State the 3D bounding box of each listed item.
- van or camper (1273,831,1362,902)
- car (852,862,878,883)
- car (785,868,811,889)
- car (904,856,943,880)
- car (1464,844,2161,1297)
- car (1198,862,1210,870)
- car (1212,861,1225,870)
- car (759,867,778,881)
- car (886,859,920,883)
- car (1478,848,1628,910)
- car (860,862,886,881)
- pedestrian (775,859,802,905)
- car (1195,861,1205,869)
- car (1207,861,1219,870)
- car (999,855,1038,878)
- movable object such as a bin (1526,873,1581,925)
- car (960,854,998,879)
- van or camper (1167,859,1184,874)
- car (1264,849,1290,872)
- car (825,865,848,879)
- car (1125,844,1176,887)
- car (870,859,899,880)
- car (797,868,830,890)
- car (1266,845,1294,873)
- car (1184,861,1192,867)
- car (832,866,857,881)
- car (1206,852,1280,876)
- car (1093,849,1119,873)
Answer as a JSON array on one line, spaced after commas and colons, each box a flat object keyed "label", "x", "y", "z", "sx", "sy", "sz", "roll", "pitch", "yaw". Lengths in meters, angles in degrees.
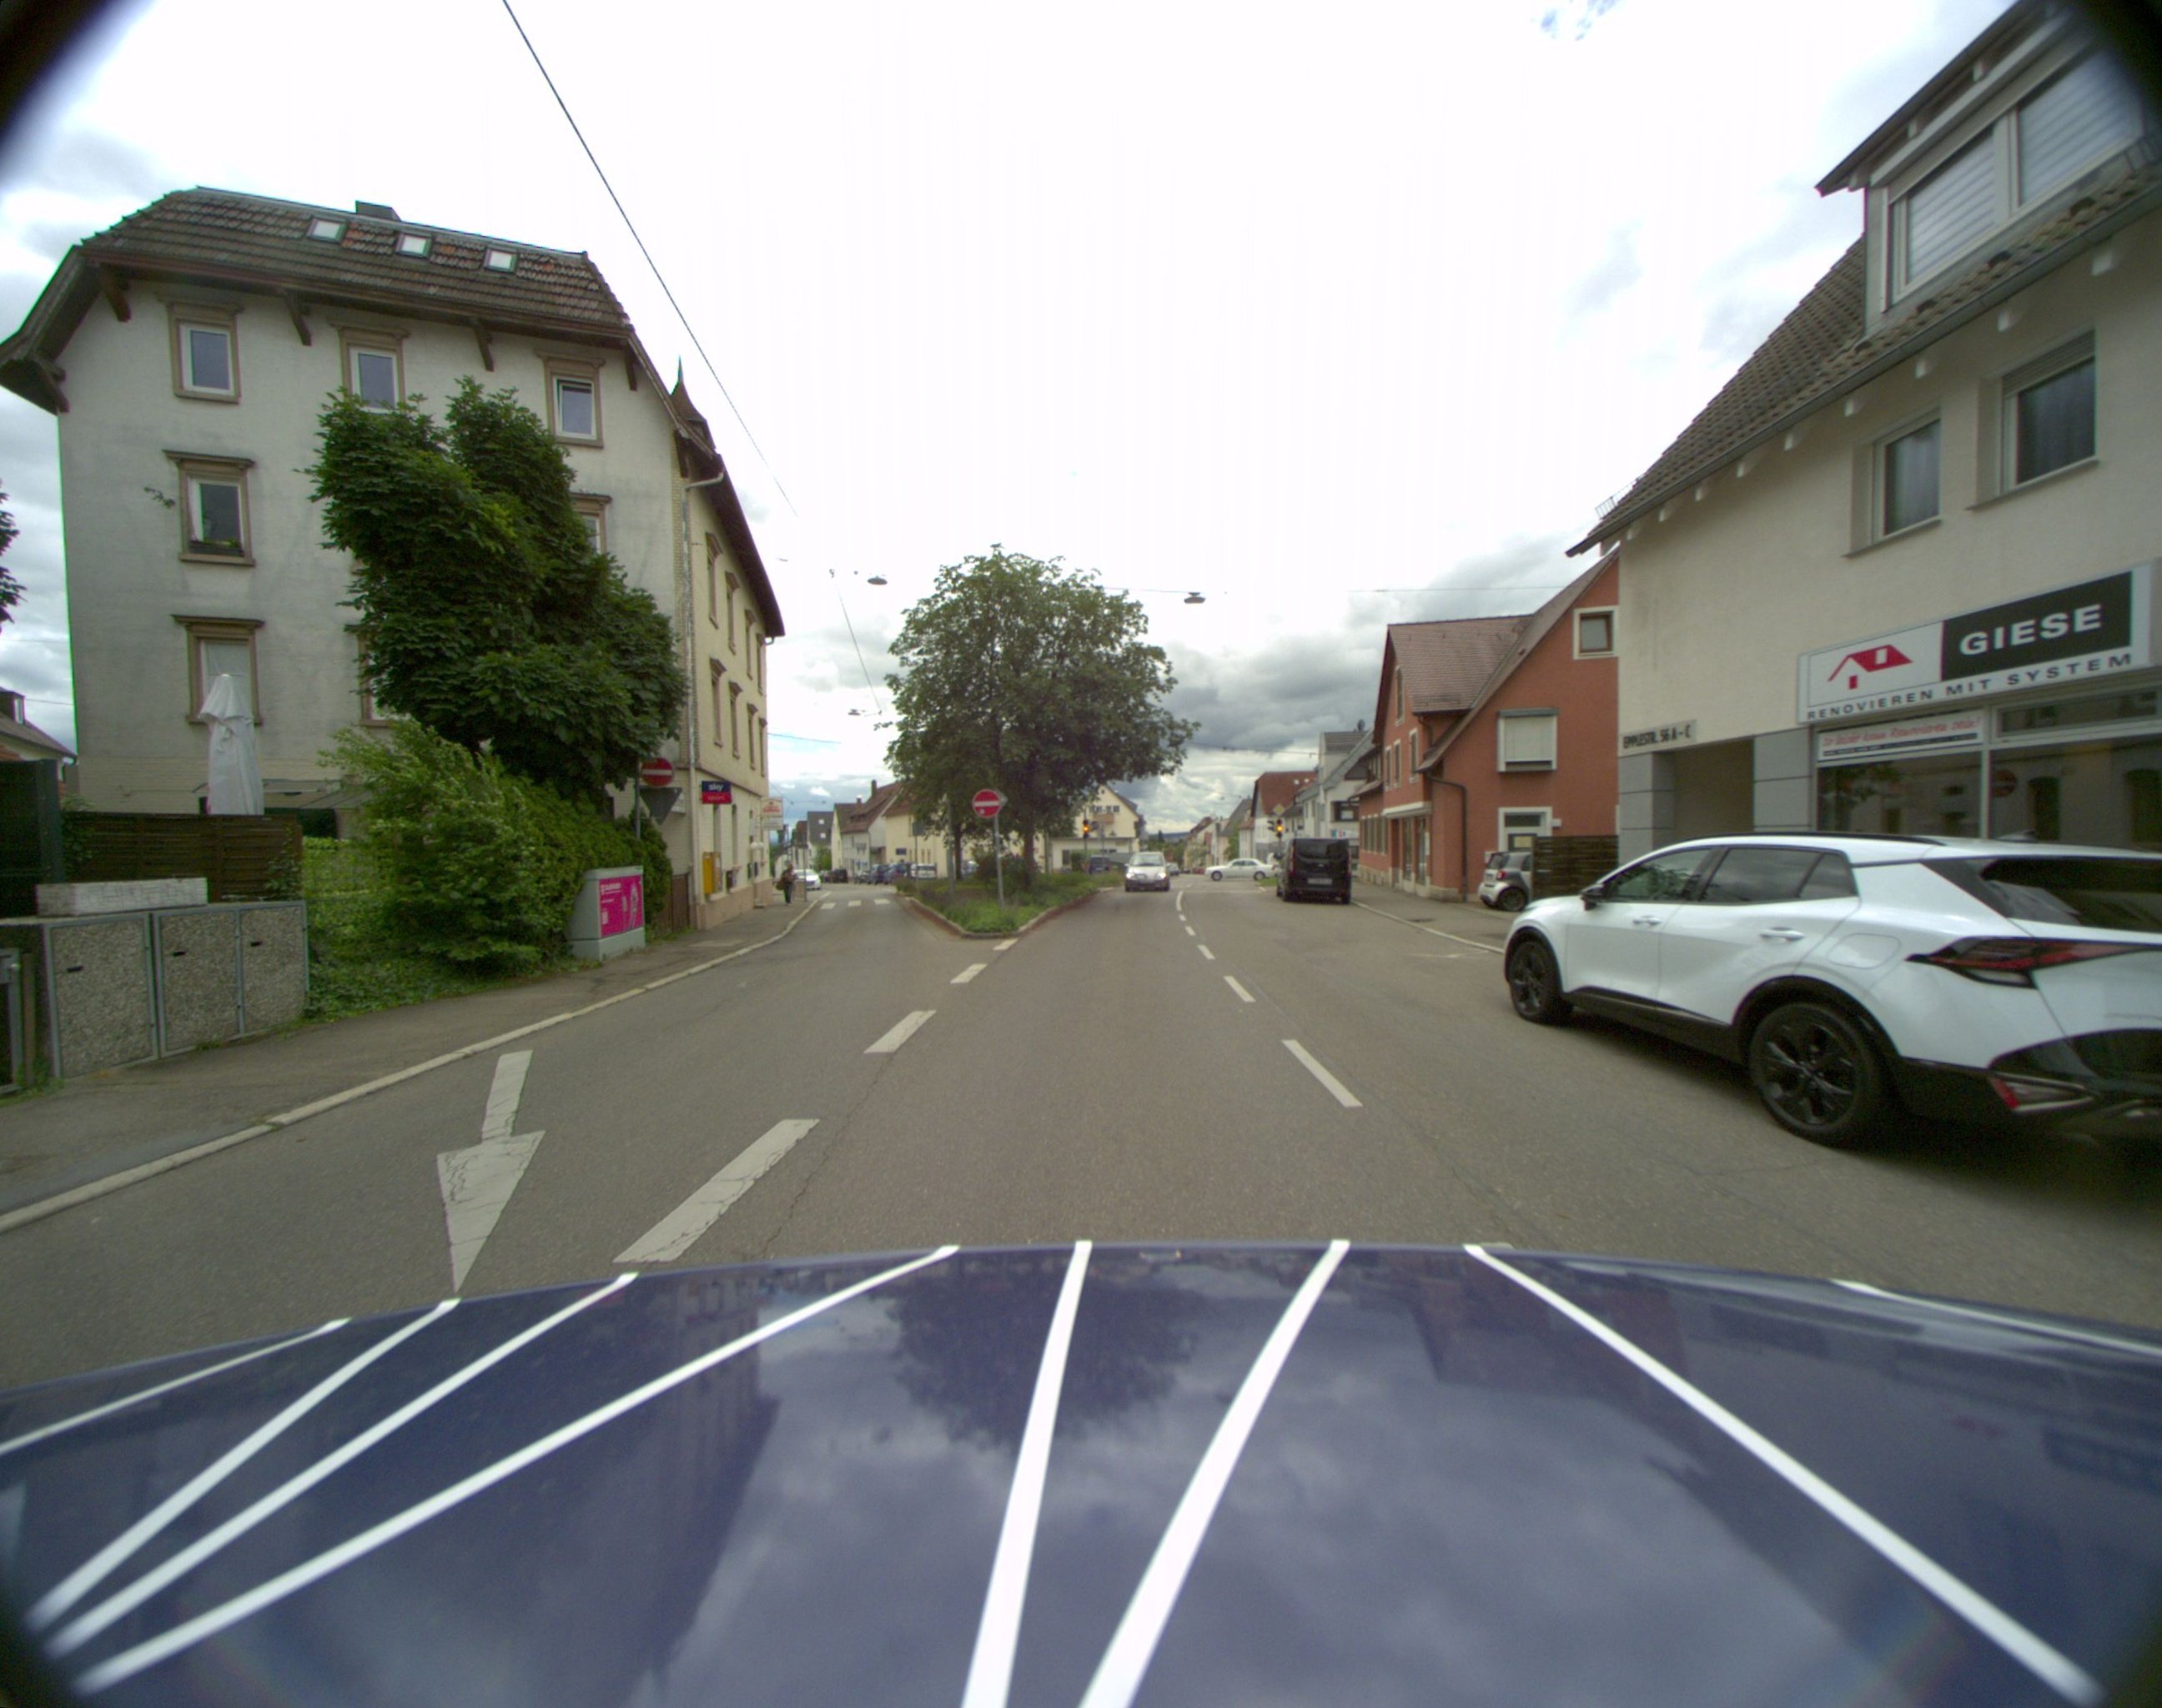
[{"label": "van or camper", "x": 7.394, "y": 0.374, "z": 24.239, "sx": 2.077, "sy": 1.994, "sz": 4.862, "roll": 1, "pitch": 0, "yaw": 10}, {"label": "car", "x": -22.148, "y": 1.871, "z": 77.770, "sx": 2.002, "sy": 2.001, "sz": 3.993, "roll": -2, "pitch": -1, "yaw": -23}, {"label": "car", "x": -21.659, "y": 1.849, "z": 58.059, "sx": 1.629, "sy": 1.466, "sz": 3.760, "roll": -1, "pitch": 1, "yaw": -24}, {"label": "car", "x": -11.764, "y": 1.085, "z": 56.585, "sx": 1.777, "sy": 1.608, "sz": 3.993, "roll": -2, "pitch": -1, "yaw": -26}, {"label": "car", "x": 4.749, "y": 0.783, "z": 5.173, "sx": 2.002, "sy": 1.623, "sz": 4.858, "roll": -2, "pitch": 0, "yaw": 3}, {"label": "car", "x": 23.288, "y": 2.270, "z": 144.013, "sx": 1.705, "sy": 1.402, "sz": 3.737, "roll": 2, "pitch": -1, "yaw": 4}, {"label": "car", "x": 22.352, "y": 1.872, "z": 123.487, "sx": 1.653, "sy": 1.438, "sz": 3.813, "roll": 0, "pitch": -1, "yaw": 4}, {"label": "car", "x": -37.904, "y": 2.474, "z": 92.210, "sx": 1.879, "sy": 1.586, "sz": 3.893, "roll": -2, "pitch": -1, "yaw": -25}, {"label": "car", "x": -14.682, "y": 1.446, "z": 62.382, "sx": 1.778, "sy": 1.931, "sz": 4.316, "roll": 1, "pitch": -3, "yaw": -26}, {"label": "car", "x": 11.884, "y": 0.611, "z": 19.298, "sx": 2.834, "sy": 1.466, "sz": 1.744, "roll": -1, "pitch": 1, "yaw": 13}, {"label": "car", "x": -20.240, "y": 1.711, "z": 73.828, "sx": 1.724, "sy": 1.720, "sz": 3.993, "roll": -2, "pitch": -1, "yaw": -25}, {"label": "pedestrian", "x": -11.313, "y": 1.083, "z": 29.406, "sx": 0.861, "sy": 1.722, "sz": 1.020, "roll": -3, "pitch": -1, "yaw": -17}, {"label": "car", "x": 24.287, "y": 2.328, "z": 155.495, "sx": 1.705, "sy": 1.523, "sz": 3.737, "roll": 2, "pitch": -1, "yaw": 4}, {"label": "car", "x": 22.281, "y": 1.955, "z": 128.501, "sx": 1.653, "sy": 1.438, "sz": 3.776, "roll": 0, "pitch": -1, "yaw": 6}, {"label": "car", "x": -5.213, "y": 1.062, "z": 62.729, "sx": 1.872, "sy": 1.717, "sz": 3.993, "roll": -2, "pitch": -1, "yaw": -25}, {"label": "movable object such as a bin", "x": 9.599, "y": 0.906, "z": 15.463, "sx": 0.667, "sy": 1.012, "sz": 0.796, "roll": 0, "pitch": 0, "yaw": 7}, {"label": "car", "x": -8.163, "y": 1.024, "z": 60.494, "sx": 1.904, "sy": 1.791, "sz": 4.886, "roll": -3, "pitch": -1, "yaw": -21}, {"label": "van or camper", "x": 13.930, "y": 1.839, "z": 111.674, "sx": 1.998, "sy": 2.001, "sz": 5.066, "roll": -3, "pitch": -1, "yaw": 3}, {"label": "car", "x": 16.352, "y": 0.565, "z": 63.451, "sx": 1.736, "sy": 1.821, "sz": 4.302, "roll": 1, "pitch": -1, "yaw": 10}, {"label": "car", "x": -31.480, "y": 2.352, "z": 97.773, "sx": 2.285, "sy": 1.720, "sz": 3.993, "roll": -2, "pitch": -1, "yaw": -25}, {"label": "car", "x": 2.918, "y": 0.474, "z": 31.320, "sx": 1.720, "sy": 1.586, "sz": 4.003, "roll": -3, "pitch": -1, "yaw": 9}, {"label": "car", "x": -17.874, "y": 1.452, "z": 69.053, "sx": 1.724, "sy": 1.720, "sz": 3.993, "roll": -2, "pitch": -1, "yaw": -25}, {"label": "car", "x": -18.881, "y": 1.776, "z": 53.628, "sx": 1.778, "sy": 1.470, "sz": 3.823, "roll": 1, "pitch": -3, "yaw": -26}, {"label": "car", "x": 15.141, "y": 0.399, "z": 57.981, "sx": 1.814, "sy": 1.993, "sz": 4.768, "roll": 1, "pitch": -1, "yaw": 13}, {"label": "car", "x": 27.186, "y": 2.496, "z": 192.774, "sx": 1.705, "sy": 1.523, "sz": 3.737, "roll": 2, "pitch": -1, "yaw": 4}, {"label": "car", "x": -28.774, "y": 2.392, "z": 92.440, "sx": 2.285, "sy": 1.720, "sz": 3.993, "roll": -2, "pitch": -1, "yaw": -25}, {"label": "car", "x": 10.449, "y": 0.633, "z": 49.365, "sx": 4.562, "sy": 1.436, "sz": 2.001, "roll": 1, "pitch": 0, "yaw": 8}, {"label": "car", "x": 1.951, "y": 0.567, "z": 57.731, "sx": 1.750, "sy": 1.729, "sz": 4.574, "roll": 1, "pitch": -1, "yaw": 4}]
